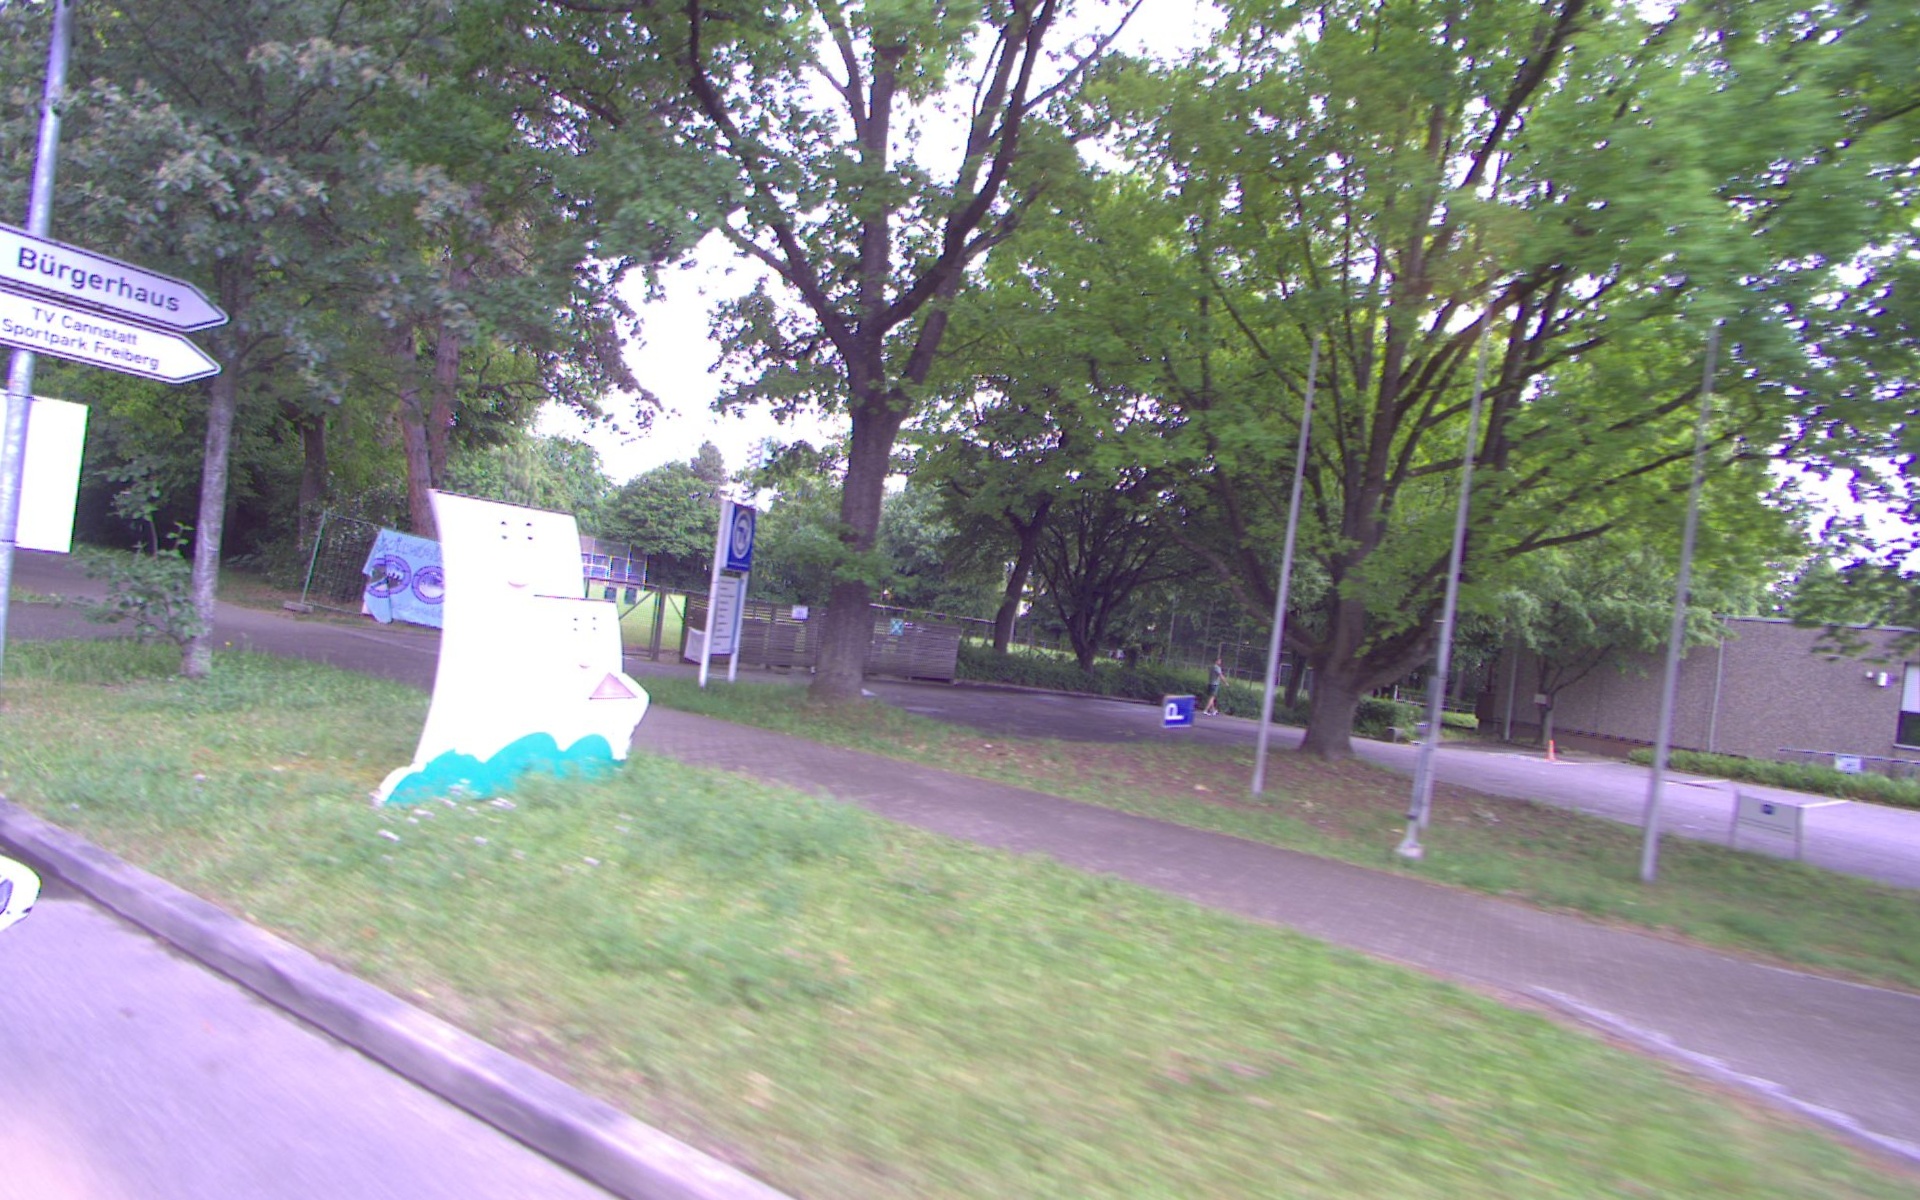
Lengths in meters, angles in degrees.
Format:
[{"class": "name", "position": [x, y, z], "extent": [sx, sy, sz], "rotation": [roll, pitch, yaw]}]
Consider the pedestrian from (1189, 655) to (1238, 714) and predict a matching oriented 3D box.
[{"class": "pedestrian", "position": [7.780, 2.590, 30.892], "extent": [1.140, 1.695, 0.786], "rotation": [5, 1, -35]}]
